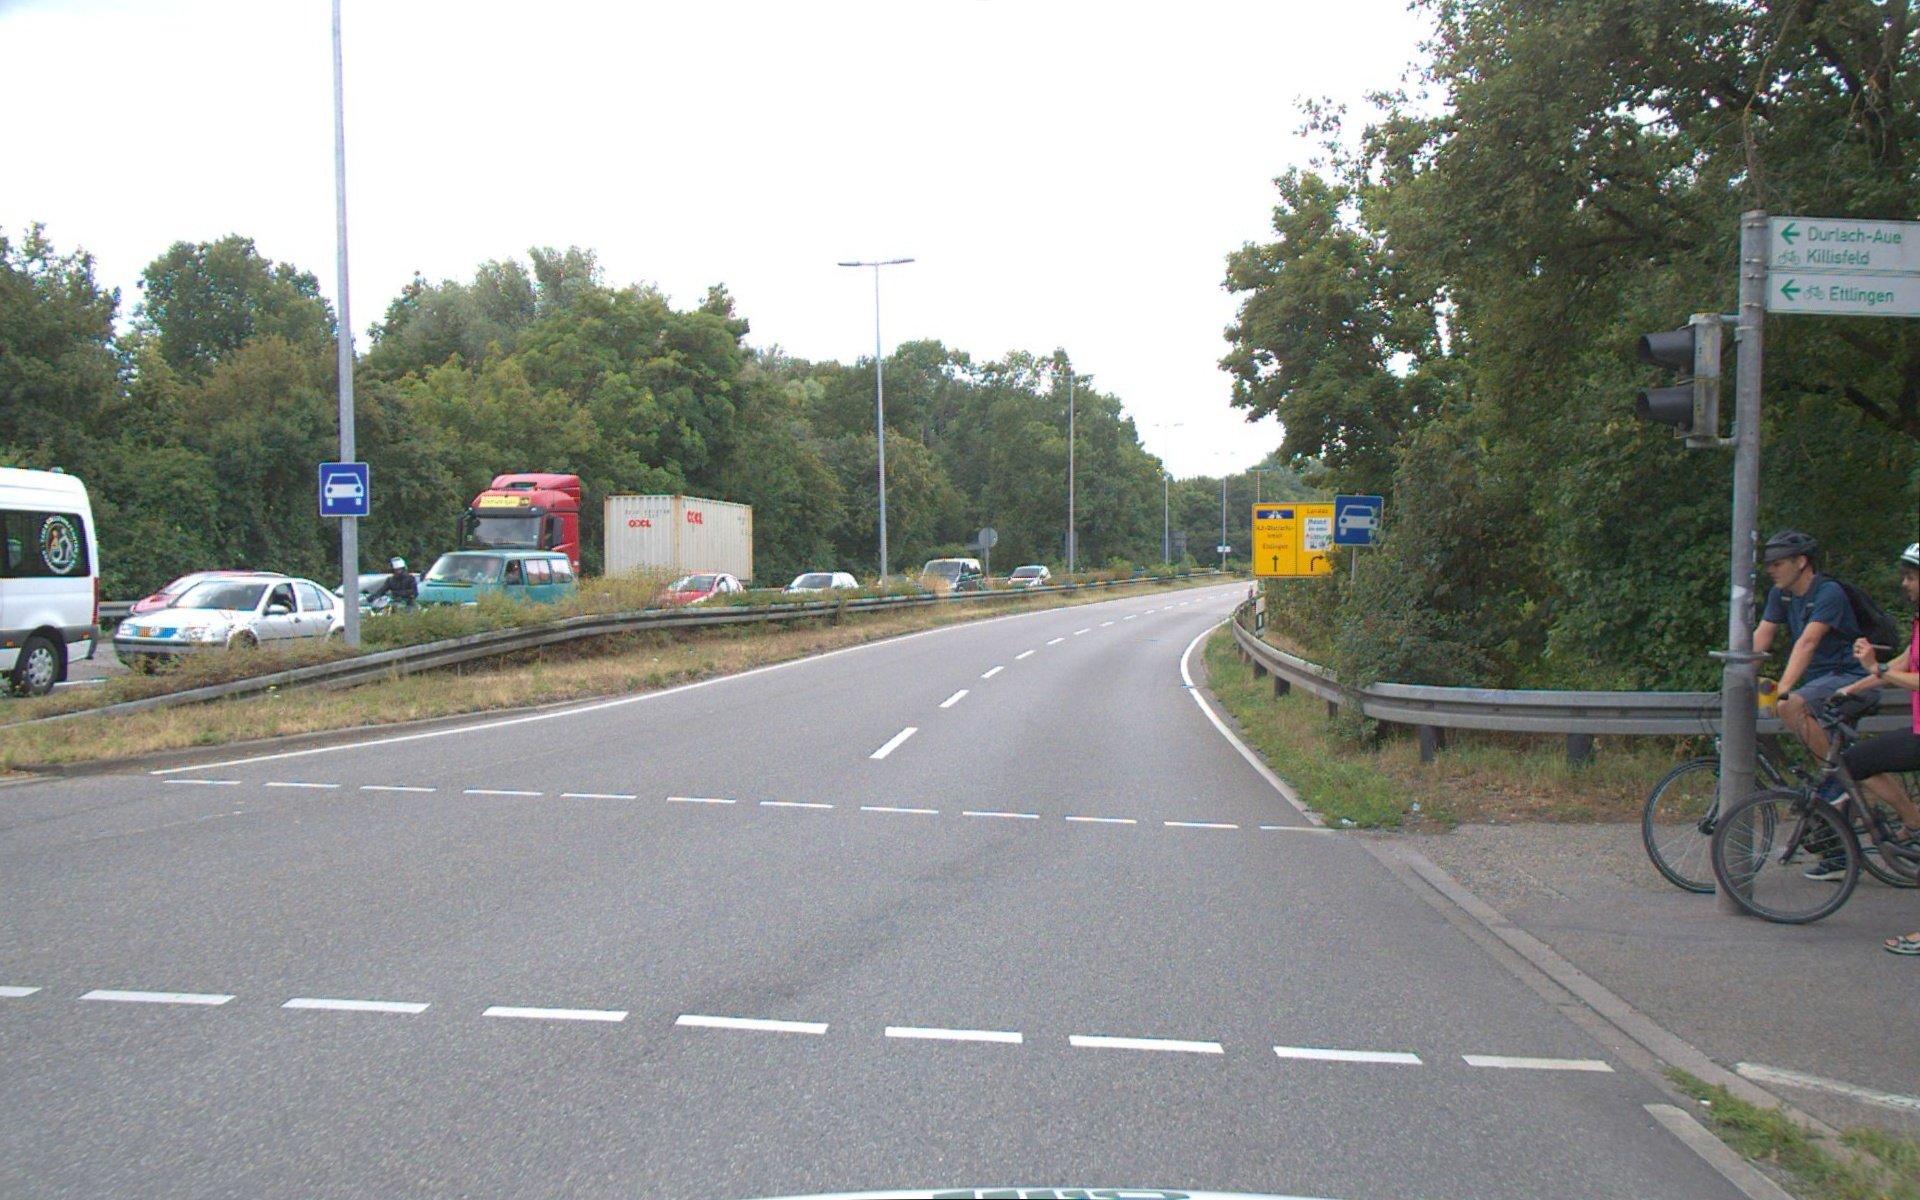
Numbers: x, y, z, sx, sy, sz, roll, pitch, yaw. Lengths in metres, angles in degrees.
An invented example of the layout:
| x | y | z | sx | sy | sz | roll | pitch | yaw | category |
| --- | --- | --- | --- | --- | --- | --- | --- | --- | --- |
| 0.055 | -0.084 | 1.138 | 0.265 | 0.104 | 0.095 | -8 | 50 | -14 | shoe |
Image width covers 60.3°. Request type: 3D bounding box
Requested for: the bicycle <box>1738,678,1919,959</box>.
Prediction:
| x | y | z | sx | sy | sz | roll | pitch | yaw | category |
| --- | --- | --- | --- | --- | --- | --- | --- | --- | --- |
| 4.423 | 0.939 | 7.268 | 1.705 | 1.158 | 0.631 | -2 | 0 | 16 | bicycle |

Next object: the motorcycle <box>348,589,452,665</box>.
| x | y | z | sx | sy | sz | roll | pitch | yaw | category |
| --- | --- | --- | --- | --- | --- | --- | --- | --- | --- |
| -9.671 | 0.445 | 28.668 | 0.782 | 1.246 | 2.328 | 1 | 1 | 6 | motorcycle |

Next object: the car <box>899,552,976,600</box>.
| x | y | z | sx | sy | sz | roll | pitch | yaw | category |
| --- | --- | --- | --- | --- | --- | --- | --- | --- | --- |
| -0.870 | -0.970 | 68.458 | 1.967 | 1.895 | 5.282 | 1 | 1 | 13 | car |

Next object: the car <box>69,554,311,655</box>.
| x | y | z | sx | sy | sz | roll | pitch | yaw | category |
| --- | --- | --- | --- | --- | --- | --- | --- | --- | --- |
| -13.494 | 0.047 | 29.271 | 1.951 | 1.642 | 4.004 | 1 | 1 | 9 | car |

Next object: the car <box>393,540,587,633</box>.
| x | y | z | sx | sy | sz | roll | pitch | yaw | category |
| --- | --- | --- | --- | --- | --- | --- | --- | --- | --- |
| -9.477 | -0.284 | 33.836 | 1.765 | 1.759 | 4.965 | 1 | 1 | 11 | car |

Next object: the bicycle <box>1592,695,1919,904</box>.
| x | y | z | sx | sy | sz | roll | pitch | yaw | category |
| --- | --- | --- | --- | --- | --- | --- | --- | --- | --- |
| 4.425 | 1.026 | 8.703 | 1.931 | 0.957 | 0.661 | -2 | 0 | -1 | bicycle |

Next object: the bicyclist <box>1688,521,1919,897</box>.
| x | y | z | sx | sy | sz | roll | pitch | yaw | category |
| --- | --- | --- | --- | --- | --- | --- | --- | --- | --- |
| 4.470 | 0.548 | 8.709 | 0.929 | 1.876 | 0.664 | -2 | 0 | -1 | bicyclist |

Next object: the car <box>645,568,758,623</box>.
| x | y | z | sx | sy | sz | roll | pitch | yaw | category |
| --- | --- | --- | --- | --- | --- | --- | --- | --- | --- |
| -7.136 | -0.139 | 46.098 | 1.765 | 1.457 | 4.129 | 1 | 1 | 12 | car |

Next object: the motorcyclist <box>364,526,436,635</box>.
| x | y | z | sx | sy | sz | roll | pitch | yaw | category |
| --- | --- | --- | --- | --- | --- | --- | --- | --- | --- |
| -9.700 | -0.343 | 28.665 | 0.847 | 1.855 | 0.926 | 1 | 0 | 7 | motorcyclist |

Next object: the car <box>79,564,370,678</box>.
| x | y | z | sx | sy | sz | roll | pitch | yaw | category |
| --- | --- | --- | --- | --- | --- | --- | --- | --- | --- |
| -10.799 | 0.258 | 24.693 | 1.951 | 1.524 | 4.404 | 1 | 1 | 7 | car |

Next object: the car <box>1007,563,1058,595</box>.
| x | y | z | sx | sy | sz | roll | pitch | yaw | category |
| --- | --- | --- | --- | --- | --- | --- | --- | --- | --- |
| 3.632 | -1.042 | 82.606 | 1.729 | 1.532 | 3.943 | 1 | 1 | 15 | car |

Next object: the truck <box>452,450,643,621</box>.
| x | y | z | sx | sy | sz | roll | pitch | yaw | category |
| --- | --- | --- | --- | --- | --- | --- | --- | --- | --- |
| -10.685 | -1.614 | 43.373 | 2.513 | 4.154 | 5.628 | 1 | 1 | 13 | truck |

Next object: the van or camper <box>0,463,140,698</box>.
| x | y | z | sx | sy | sz | roll | pitch | yaw | category |
| --- | --- | --- | --- | --- | --- | --- | --- | --- | --- |
| -11.888 | -0.223 | 18.011 | 2.114 | 2.634 | 6.501 | 1 | 1 | 6 | van or camper |

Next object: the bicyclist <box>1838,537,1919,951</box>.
| x | y | z | sx | sy | sz | roll | pitch | yaw | category |
| --- | --- | --- | --- | --- | --- | --- | --- | --- | --- |
| 4.402 | 0.610 | 7.274 | 0.833 | 1.762 | 0.637 | 0 | 0 | 16 | bicyclist |

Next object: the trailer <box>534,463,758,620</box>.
| x | y | z | sx | sy | sz | roll | pitch | yaw | category |
| --- | --- | --- | --- | --- | --- | --- | --- | --- | --- |
| -9.144 | -1.638 | 49.965 | 2.481 | 4.219 | 10.781 | 1 | 1 | 13 | trailer |
